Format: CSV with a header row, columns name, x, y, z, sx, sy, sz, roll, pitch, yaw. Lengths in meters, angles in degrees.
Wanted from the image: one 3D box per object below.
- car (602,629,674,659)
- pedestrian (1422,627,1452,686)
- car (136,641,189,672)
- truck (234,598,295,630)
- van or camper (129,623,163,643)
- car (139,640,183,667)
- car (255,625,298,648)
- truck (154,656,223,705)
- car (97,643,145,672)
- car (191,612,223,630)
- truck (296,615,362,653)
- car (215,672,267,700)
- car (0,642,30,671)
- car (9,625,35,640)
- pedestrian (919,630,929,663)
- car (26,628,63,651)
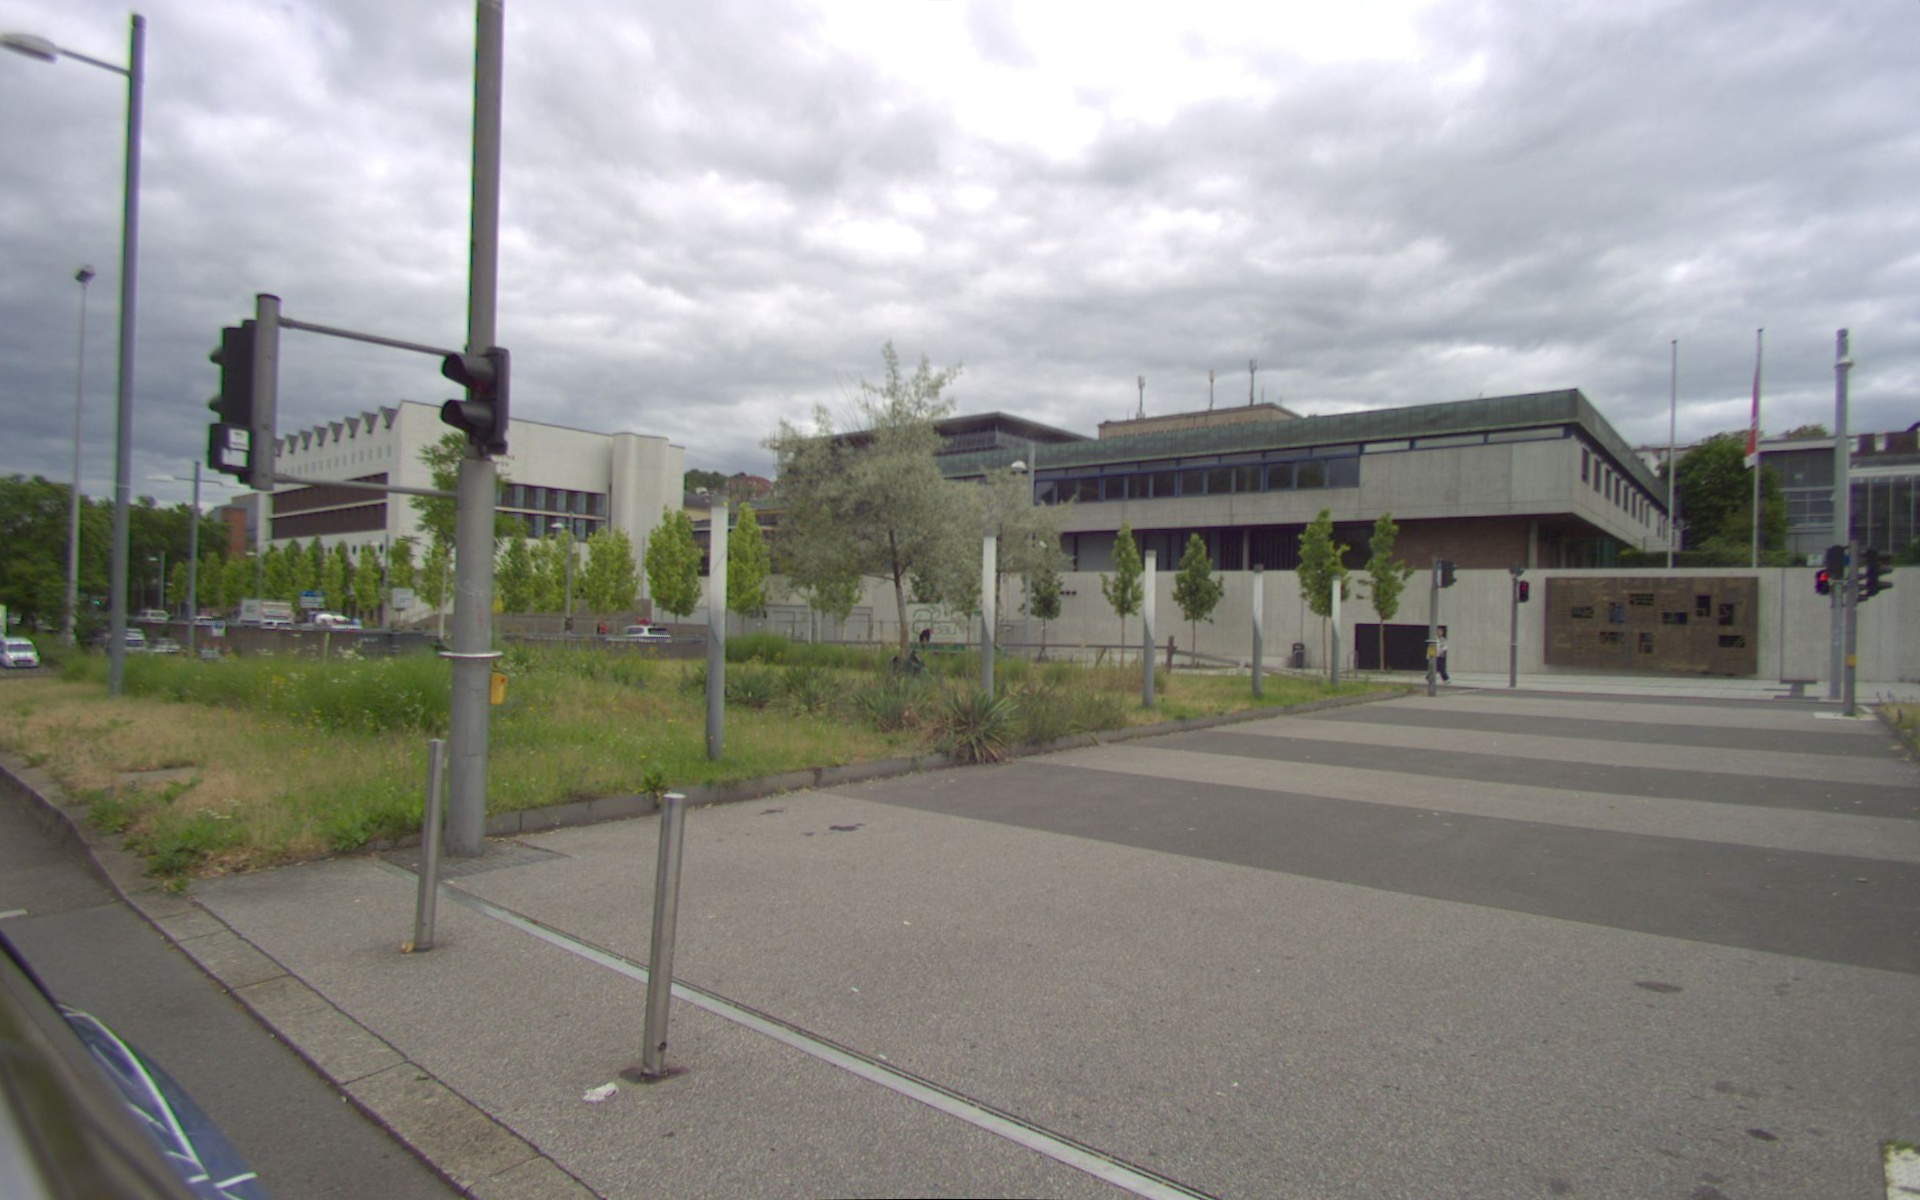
name,x,y,z,sx,sy,sz,roll,pitch,yaw
car,-17.657,2.395,55.391,4.611,1.586,1.700,-2,-2,42
pedestrian,14.355,1.694,30.441,0.663,1.747,0.534,-2,-2,41
car,-53.701,3.797,68.103,3.998,2.029,1.973,-2,-5,41
truck,-66.107,1.371,96.163,7.251,2.809,3.196,-2,-2,42
van or camper,-85.417,3.509,106.172,4.554,2.029,1.973,-2,-2,41
car,-64.738,4.320,82.004,3.998,2.029,1.973,-2,-5,41
car,-57.343,3.086,84.861,4.255,1.830,1.973,-2,-2,41
truck,-47.943,4.942,62.853,5.976,2.711,2.294,-2,-2,41
car,-62.946,4.292,75.917,4.330,2.029,1.973,-2,-5,41
car,-72.525,2.028,97.416,4.269,1.586,1.700,-2,-2,42
truck,-48.278,2.610,77.353,7.076,2.838,2.437,-2,-2,42
car,-48.965,5.832,68.901,3.997,1.564,1.973,-1,-1,41
car,-67.584,4.036,71.753,3.998,2.029,1.973,-4,-4,41
car,-100.674,3.483,108.582,3.359,1.497,1.653,-1,-3,41
pedestrian,-1.638,2.132,46.600,0.316,1.533,0.314,-1,-1,34
car,-90.180,3.917,99.659,4.849,2.148,1.973,-2,-5,41
